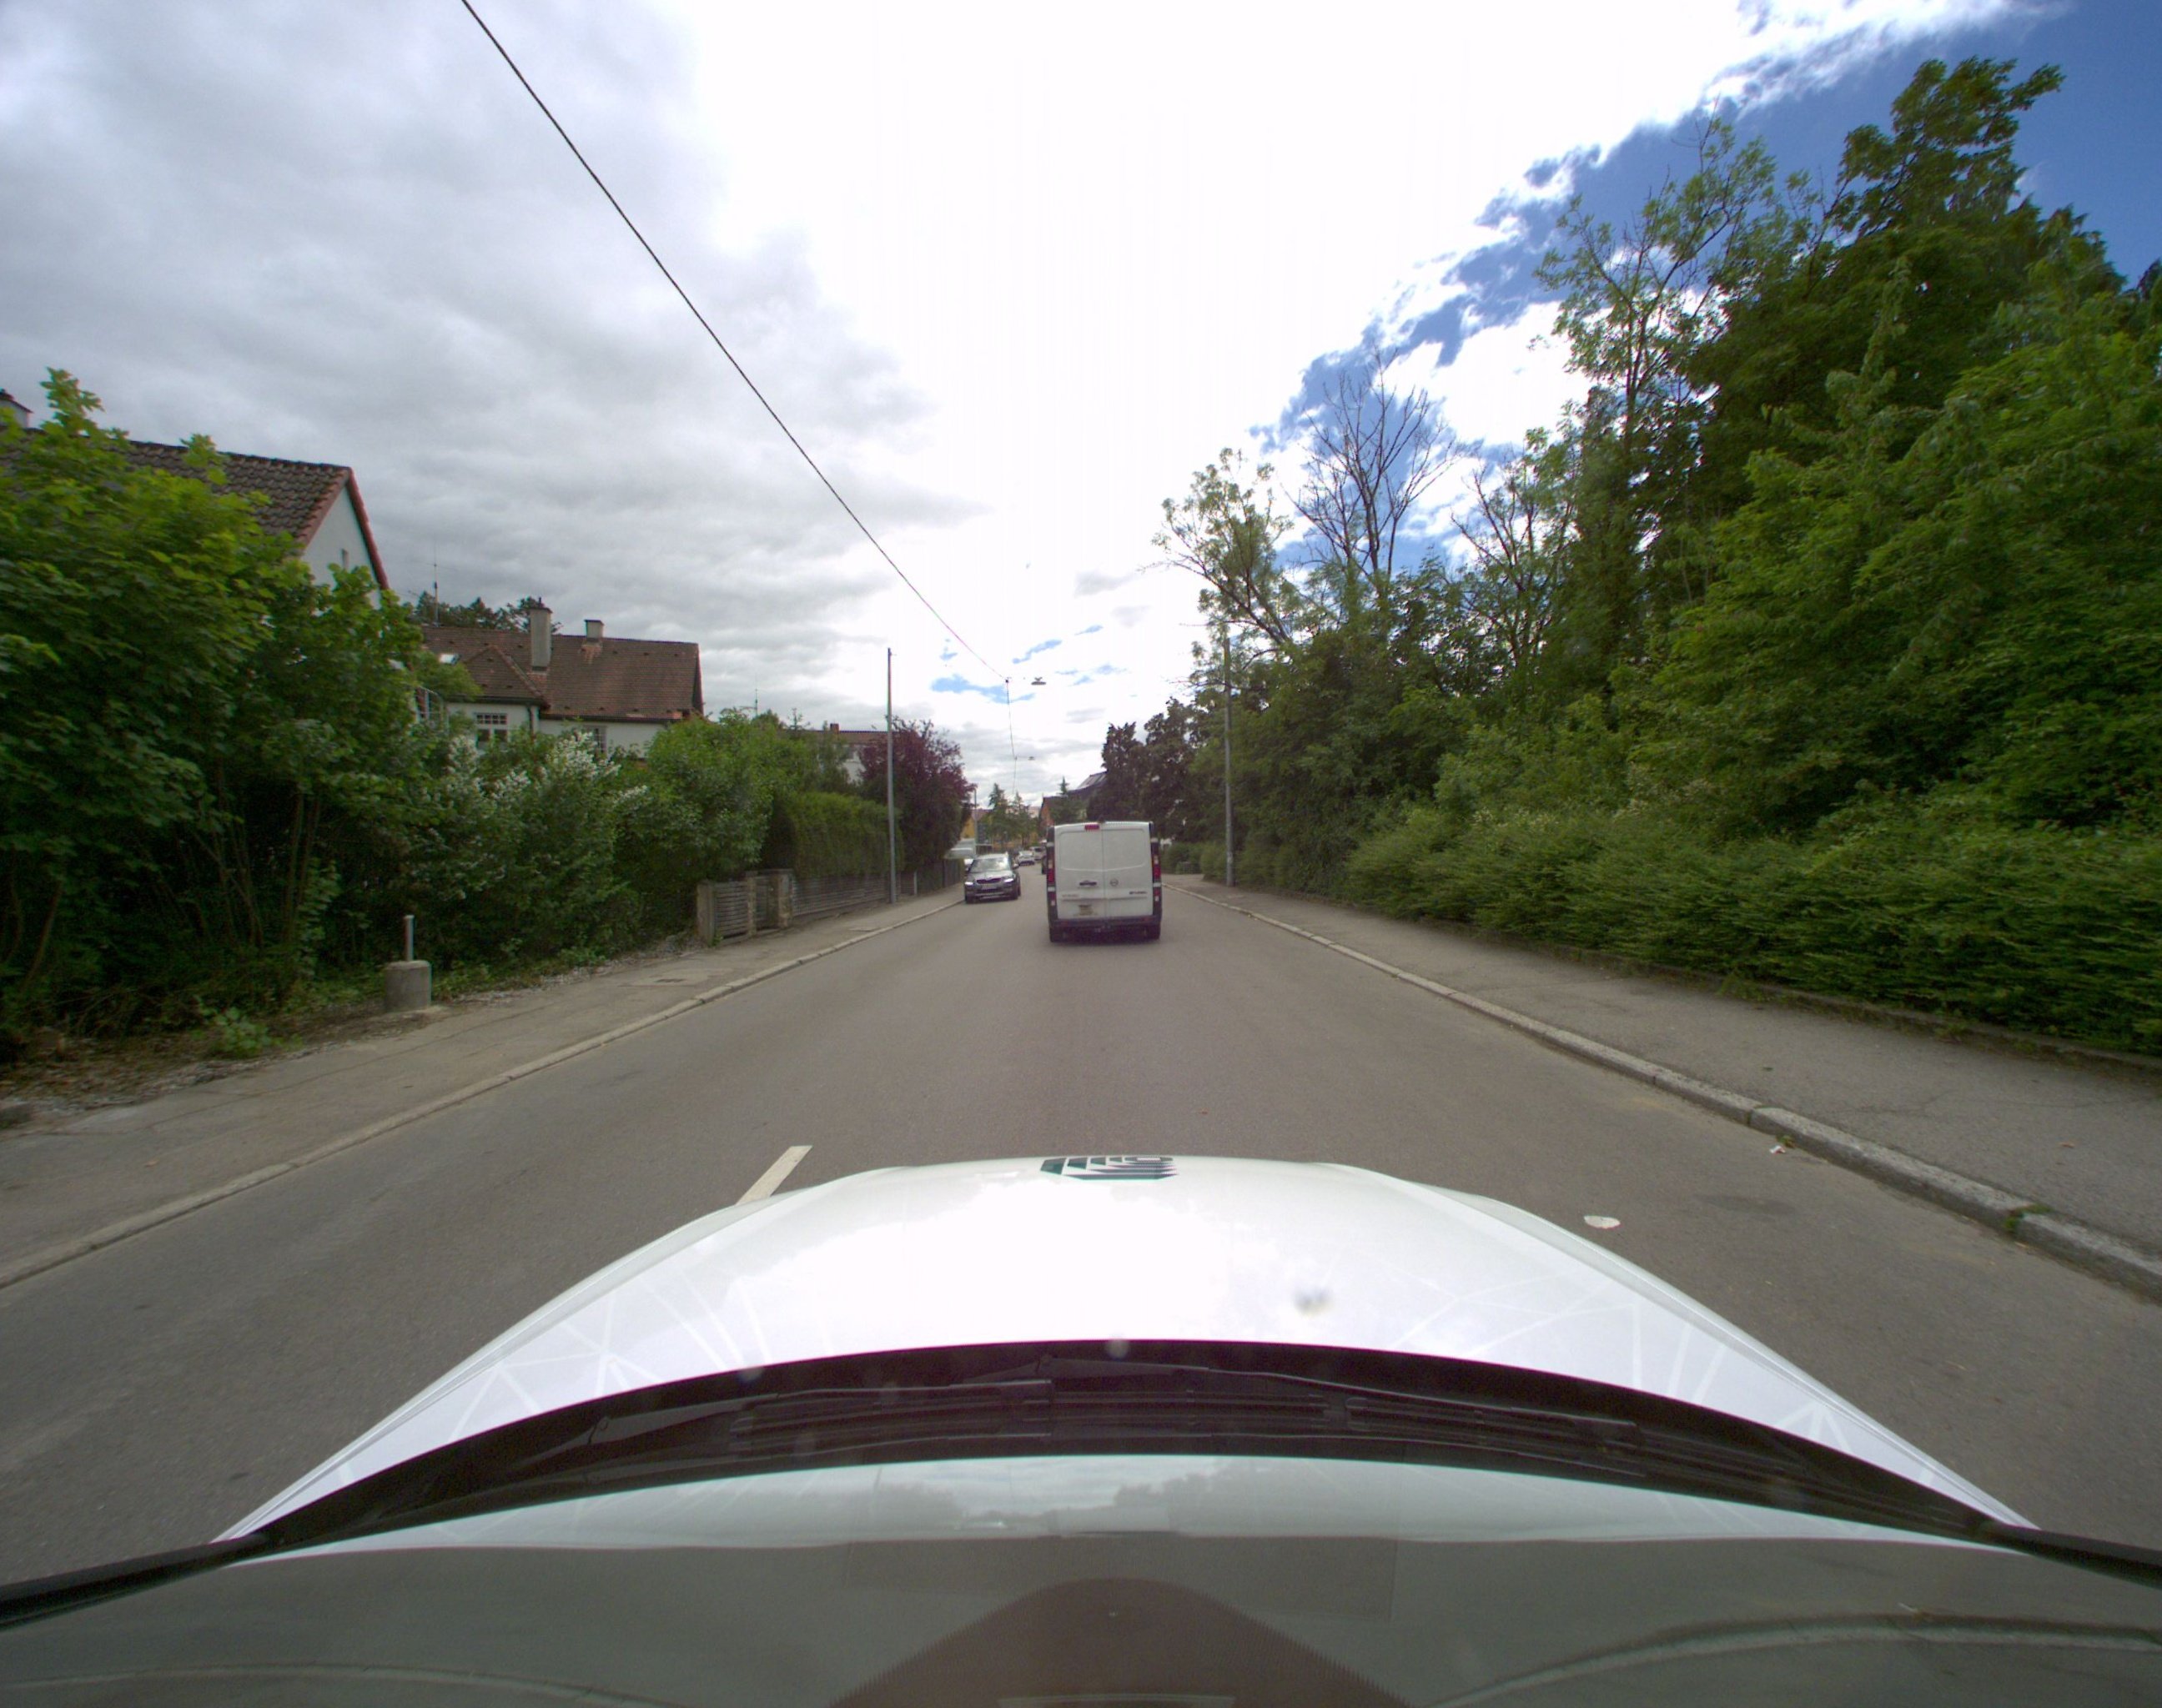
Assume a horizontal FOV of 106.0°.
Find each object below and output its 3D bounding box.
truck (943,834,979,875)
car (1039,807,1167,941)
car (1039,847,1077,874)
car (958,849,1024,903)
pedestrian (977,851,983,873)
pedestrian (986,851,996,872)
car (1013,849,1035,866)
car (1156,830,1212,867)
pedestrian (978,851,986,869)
[{"bbox_3d":[-9.064,0.047,61.074,2.473,2.840,6.685,-1,0,-9],"label":"truck"},{"bbox_3d":[0.308,0.311,14.778,1.910,2.002,4.435,-2,0,-1],"label":"car"},{"bbox_3d":[-1.735,0.440,59.542,1.996,1.848,3.983,-2,0,-13],"label":"car"},{"bbox_3d":[-3.112,0.742,28.930,1.835,1.655,4.136,-4,0,-2],"label":"car"},{"bbox_3d":[-7.651,0.590,61.659,0.401,1.695,0.595,1,-1,-10],"label":"pedestrian"},{"bbox_3d":[-7.562,0.620,68.302,0.721,1.687,1.107,1,-1,-4],"label":"pedestrian"},{"bbox_3d":[-6.670,0.404,94.671,1.996,1.782,3.983,-3,0,-13],"label":"car"},{"bbox_3d":[7.938,-0.400,63.532,2.502,2.682,5.158,1,0,-16],"label":"car"},{"bbox_3d":[-10.961,0.648,90.343,0.731,1.946,1.216,1,-1,-4],"label":"pedestrian"}]
